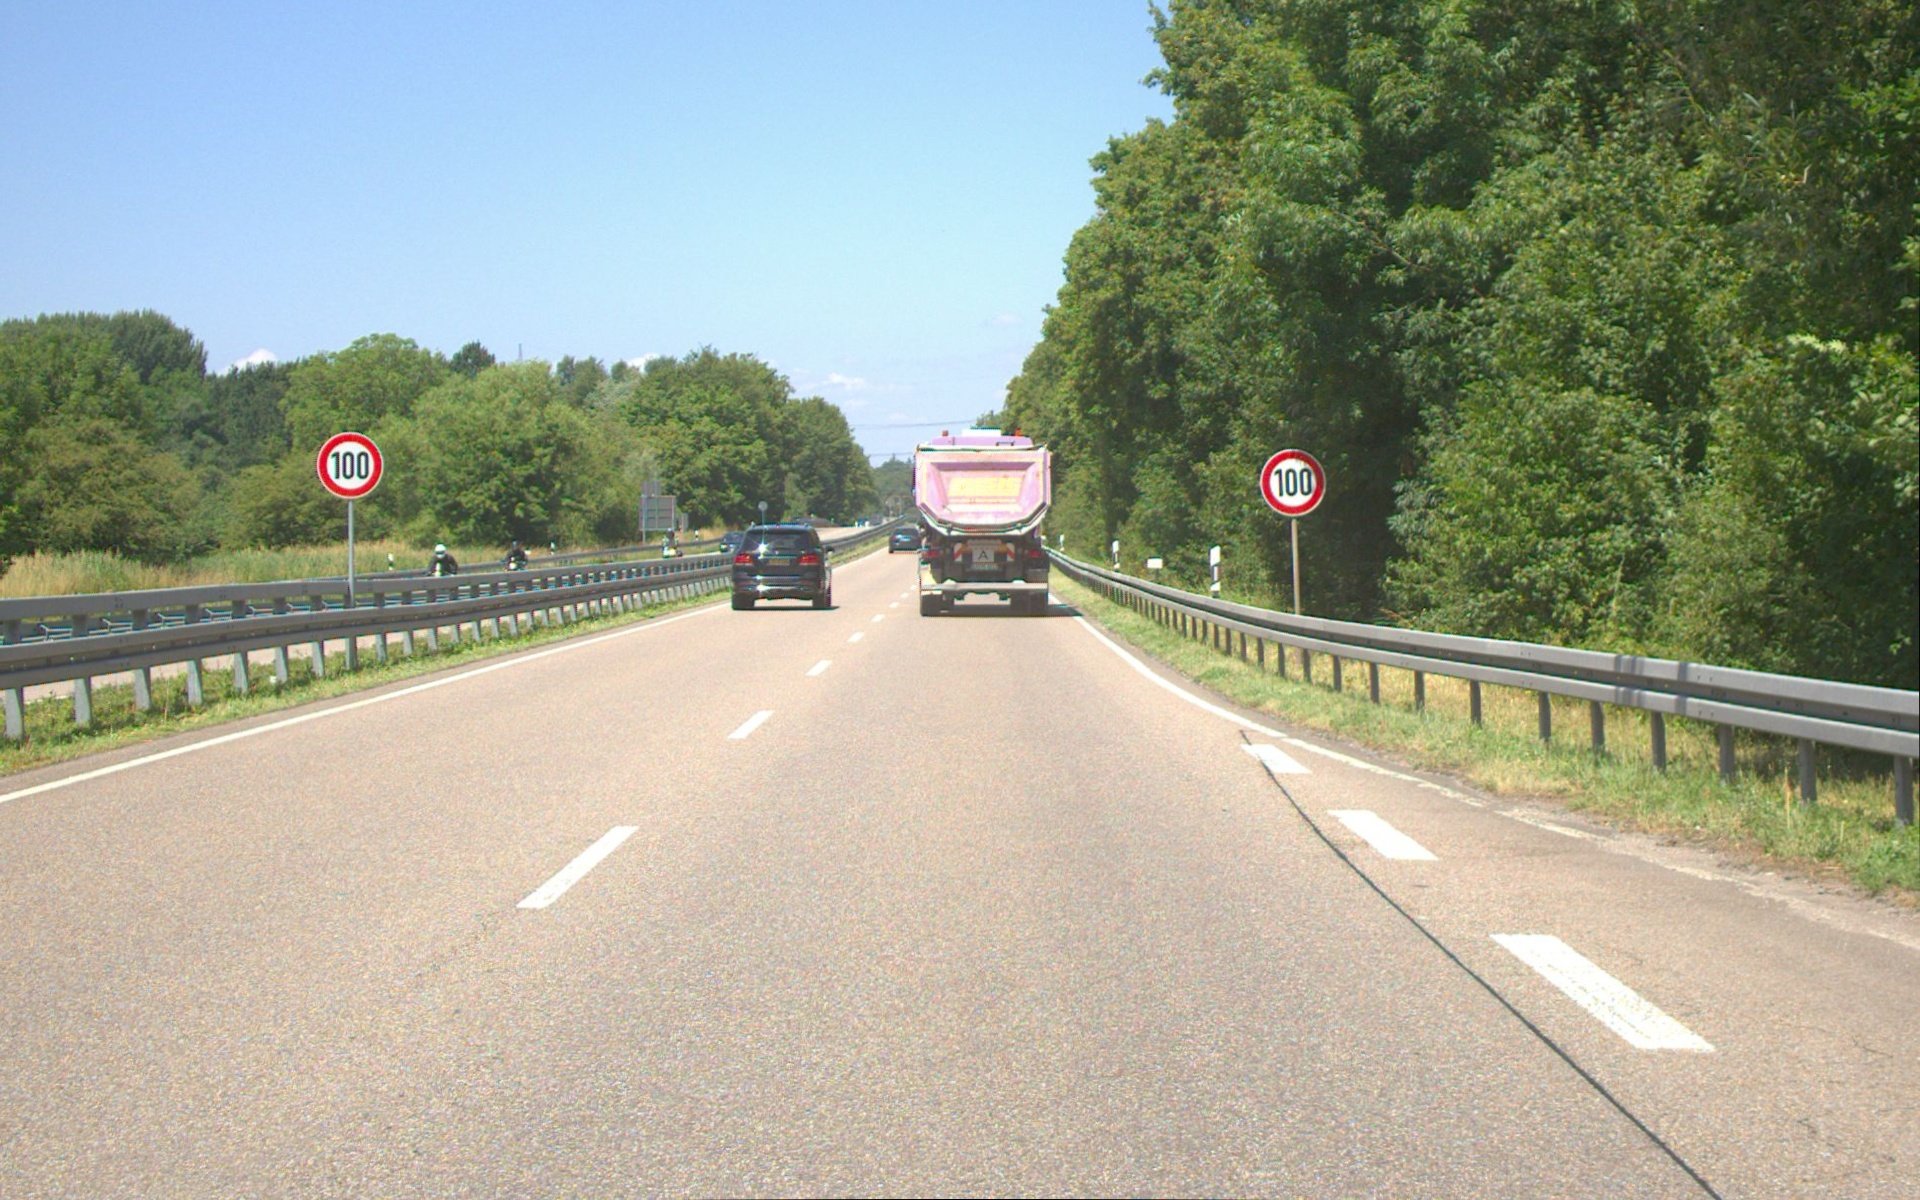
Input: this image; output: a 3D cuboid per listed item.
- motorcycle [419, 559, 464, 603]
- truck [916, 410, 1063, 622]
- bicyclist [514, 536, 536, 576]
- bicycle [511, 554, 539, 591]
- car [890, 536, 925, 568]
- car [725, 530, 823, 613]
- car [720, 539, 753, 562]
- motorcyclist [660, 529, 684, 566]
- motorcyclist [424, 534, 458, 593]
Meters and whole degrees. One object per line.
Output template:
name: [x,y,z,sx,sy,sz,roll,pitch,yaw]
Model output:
motorcycle: [-13.011,-0.486,86.355,0.726,1.061,2.667,0,1,0]
truck: [0.485,-1.719,69.794,2.720,3.916,12.371,0,2,-1]
bicyclist: [-13.814,-1.409,109.231,0.613,1.273,0.608,0,1,0]
bicycle: [-13.813,-0.893,109.232,0.613,1.153,2.280,0,1,0]
car: [-2.840,-2.594,186.358,1.857,1.712,4.000,0,0,-1]
car: [-3.849,-0.569,71.608,1.857,1.665,4.000,0,0,-1]
car: [-12.718,-2.819,196.076,1.628,1.327,3.535,0,1,0]
motorcyclist: [-12.838,-2.352,153.176,0.945,1.611,0.809,-1,1,-1]
motorcyclist: [-13.033,-0.927,86.403,0.718,1.477,0.809,0,1,1]
